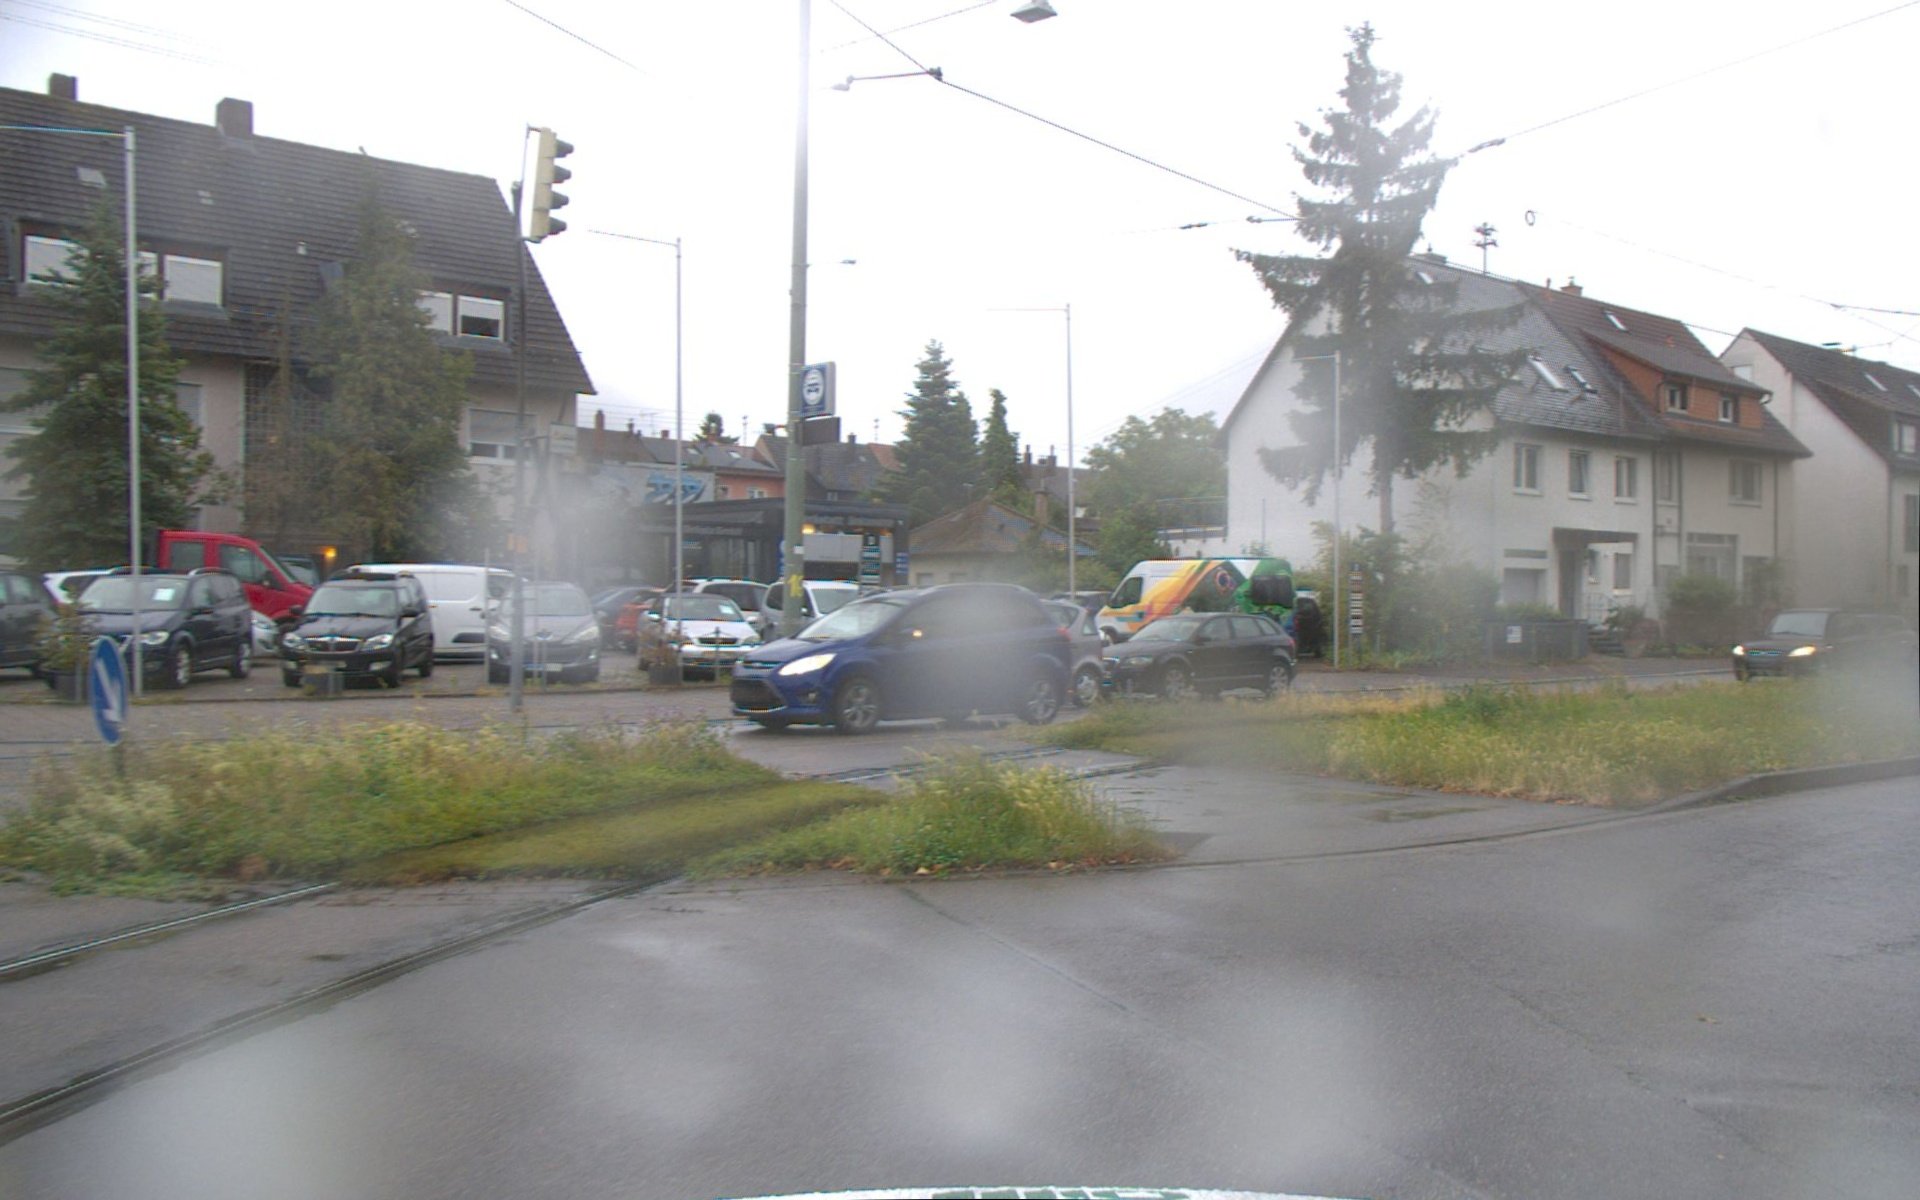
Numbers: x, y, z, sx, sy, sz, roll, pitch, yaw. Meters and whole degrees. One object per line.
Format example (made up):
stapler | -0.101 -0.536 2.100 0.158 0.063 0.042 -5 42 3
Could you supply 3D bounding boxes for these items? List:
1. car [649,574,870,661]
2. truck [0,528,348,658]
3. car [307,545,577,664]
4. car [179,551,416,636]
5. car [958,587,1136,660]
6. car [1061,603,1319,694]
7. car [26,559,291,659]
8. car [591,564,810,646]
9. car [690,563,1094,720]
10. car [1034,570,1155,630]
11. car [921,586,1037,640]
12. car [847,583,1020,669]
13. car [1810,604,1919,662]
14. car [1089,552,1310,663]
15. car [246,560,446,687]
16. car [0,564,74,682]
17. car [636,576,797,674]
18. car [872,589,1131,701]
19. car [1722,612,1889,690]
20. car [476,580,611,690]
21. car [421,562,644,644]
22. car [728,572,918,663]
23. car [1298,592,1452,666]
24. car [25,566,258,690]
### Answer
car | -4.184 0.352 34.837 4.402 1.717 1.736 0 -1 -38
truck | -14.758 -0.119 31.192 5.995 2.312 1.988 0 -1 -21
car | -9.529 0.085 30.579 4.402 2.049 1.973 0 -1 -38
car | -14.237 -0.125 35.637 4.402 1.717 1.973 0 -1 -38
car | 1.771 0.471 34.734 1.704 1.420 3.792 3 -2 -36
car | 3.858 0.819 27.319 4.344 1.362 1.699 3 -2 -39
car | -13.696 0.150 28.536 3.908 1.626 1.988 0 -1 -21
car | -5.695 0.116 36.530 4.402 1.717 1.973 0 -1 -38
car | -0.699 0.517 19.442 4.533 1.633 1.969 3 -2 -42
car | 3.872 0.019 46.971 1.823 1.608 4.393 -1 -1 28
car | 0.640 0.392 51.426 1.754 1.608 4.440 -1 -1 28
car | -0.577 0.507 33.167 1.704 1.600 3.570 3 -2 -36
car | 24.973 0.918 45.384 3.906 1.448 1.583 3 -2 -40
car | 5.647 0.175 39.574 2.132 2.448 5.074 3 -2 -40
car | -9.115 0.311 24.887 1.956 1.747 3.994 0 0 -7
car | -14.115 0.312 23.132 1.768 1.606 3.866 0 0 -7
car | -4.291 0.424 28.618 1.802 1.531 4.030 3 -1 -22
car | 0.662 0.685 24.685 3.607 1.531 1.699 3 -2 -39
car | 18.024 1.092 35.192 3.960 1.512 1.718 3 -2 -39
car | -6.443 0.534 25.948 1.795 1.531 4.046 2 -1 -11
car | -9.406 0.076 36.537 4.402 1.717 1.973 0 -1 -38
car | -2.633 0.283 31.185 1.789 1.606 3.819 0 1 -38
car | 10.627 0.704 42.207 3.860 1.592 1.971 -4 3 -41
car | -11.469 0.340 23.464 1.768 1.606 3.866 0 0 -7
